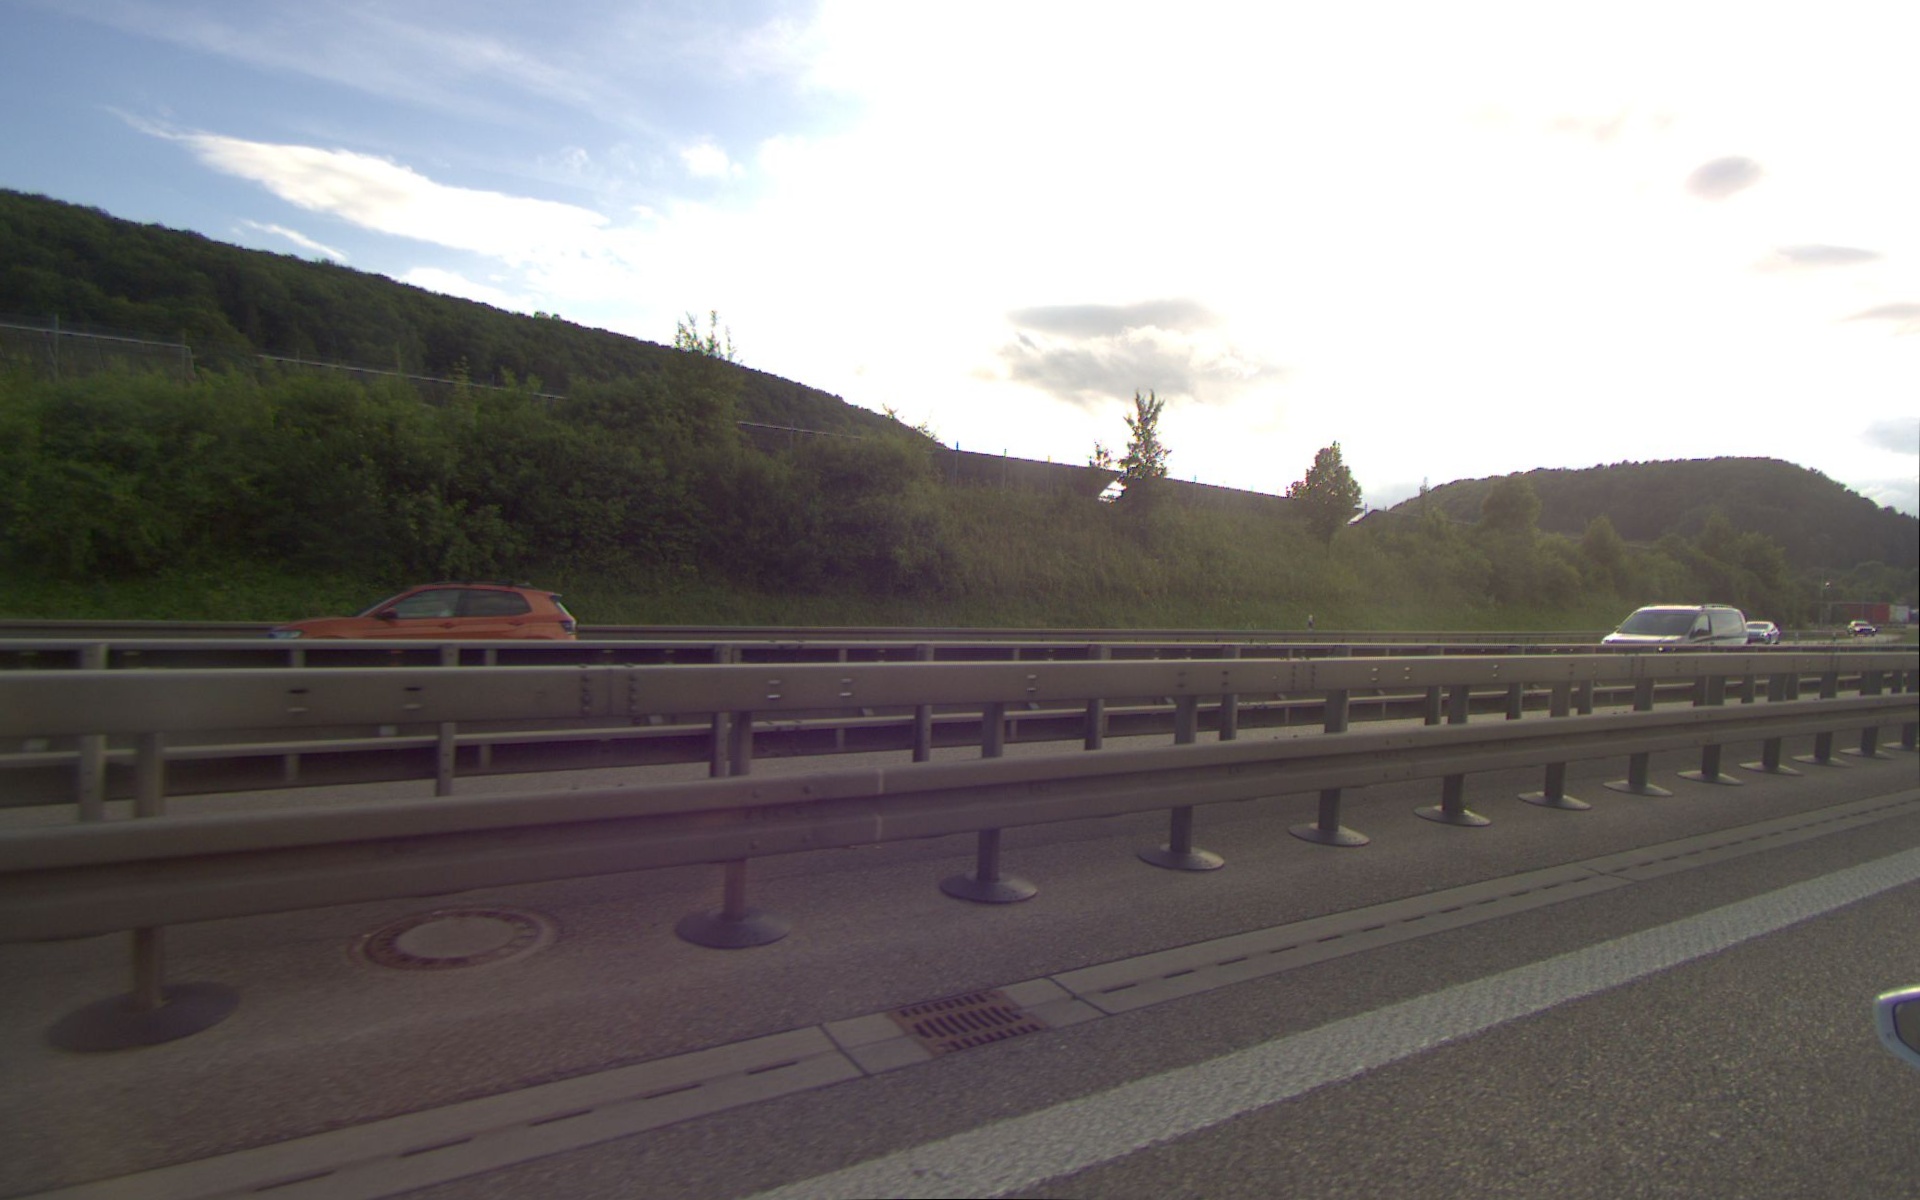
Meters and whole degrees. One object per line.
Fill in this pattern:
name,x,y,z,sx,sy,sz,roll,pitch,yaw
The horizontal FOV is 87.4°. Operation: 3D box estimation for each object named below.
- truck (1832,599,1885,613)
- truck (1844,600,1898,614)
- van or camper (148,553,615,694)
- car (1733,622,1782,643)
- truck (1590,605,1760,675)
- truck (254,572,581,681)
truck,148.991,1.046,166.691,2.842,2.040,7.313,0,-2,6
truck,153.725,1.219,169.589,2.842,2.256,7.312,0,0,6
van or camper,-7.907,0.354,14.272,5.394,1.682,1.983,1,-2,-32
car,53.603,2.160,67.464,4.347,1.376,1.744,2,-2,-40
truck,18.068,0.997,25.330,4.797,1.615,1.981,2,-2,-34
truck,-7.710,0.384,14.497,3.903,1.371,1.983,1,-1,-32
